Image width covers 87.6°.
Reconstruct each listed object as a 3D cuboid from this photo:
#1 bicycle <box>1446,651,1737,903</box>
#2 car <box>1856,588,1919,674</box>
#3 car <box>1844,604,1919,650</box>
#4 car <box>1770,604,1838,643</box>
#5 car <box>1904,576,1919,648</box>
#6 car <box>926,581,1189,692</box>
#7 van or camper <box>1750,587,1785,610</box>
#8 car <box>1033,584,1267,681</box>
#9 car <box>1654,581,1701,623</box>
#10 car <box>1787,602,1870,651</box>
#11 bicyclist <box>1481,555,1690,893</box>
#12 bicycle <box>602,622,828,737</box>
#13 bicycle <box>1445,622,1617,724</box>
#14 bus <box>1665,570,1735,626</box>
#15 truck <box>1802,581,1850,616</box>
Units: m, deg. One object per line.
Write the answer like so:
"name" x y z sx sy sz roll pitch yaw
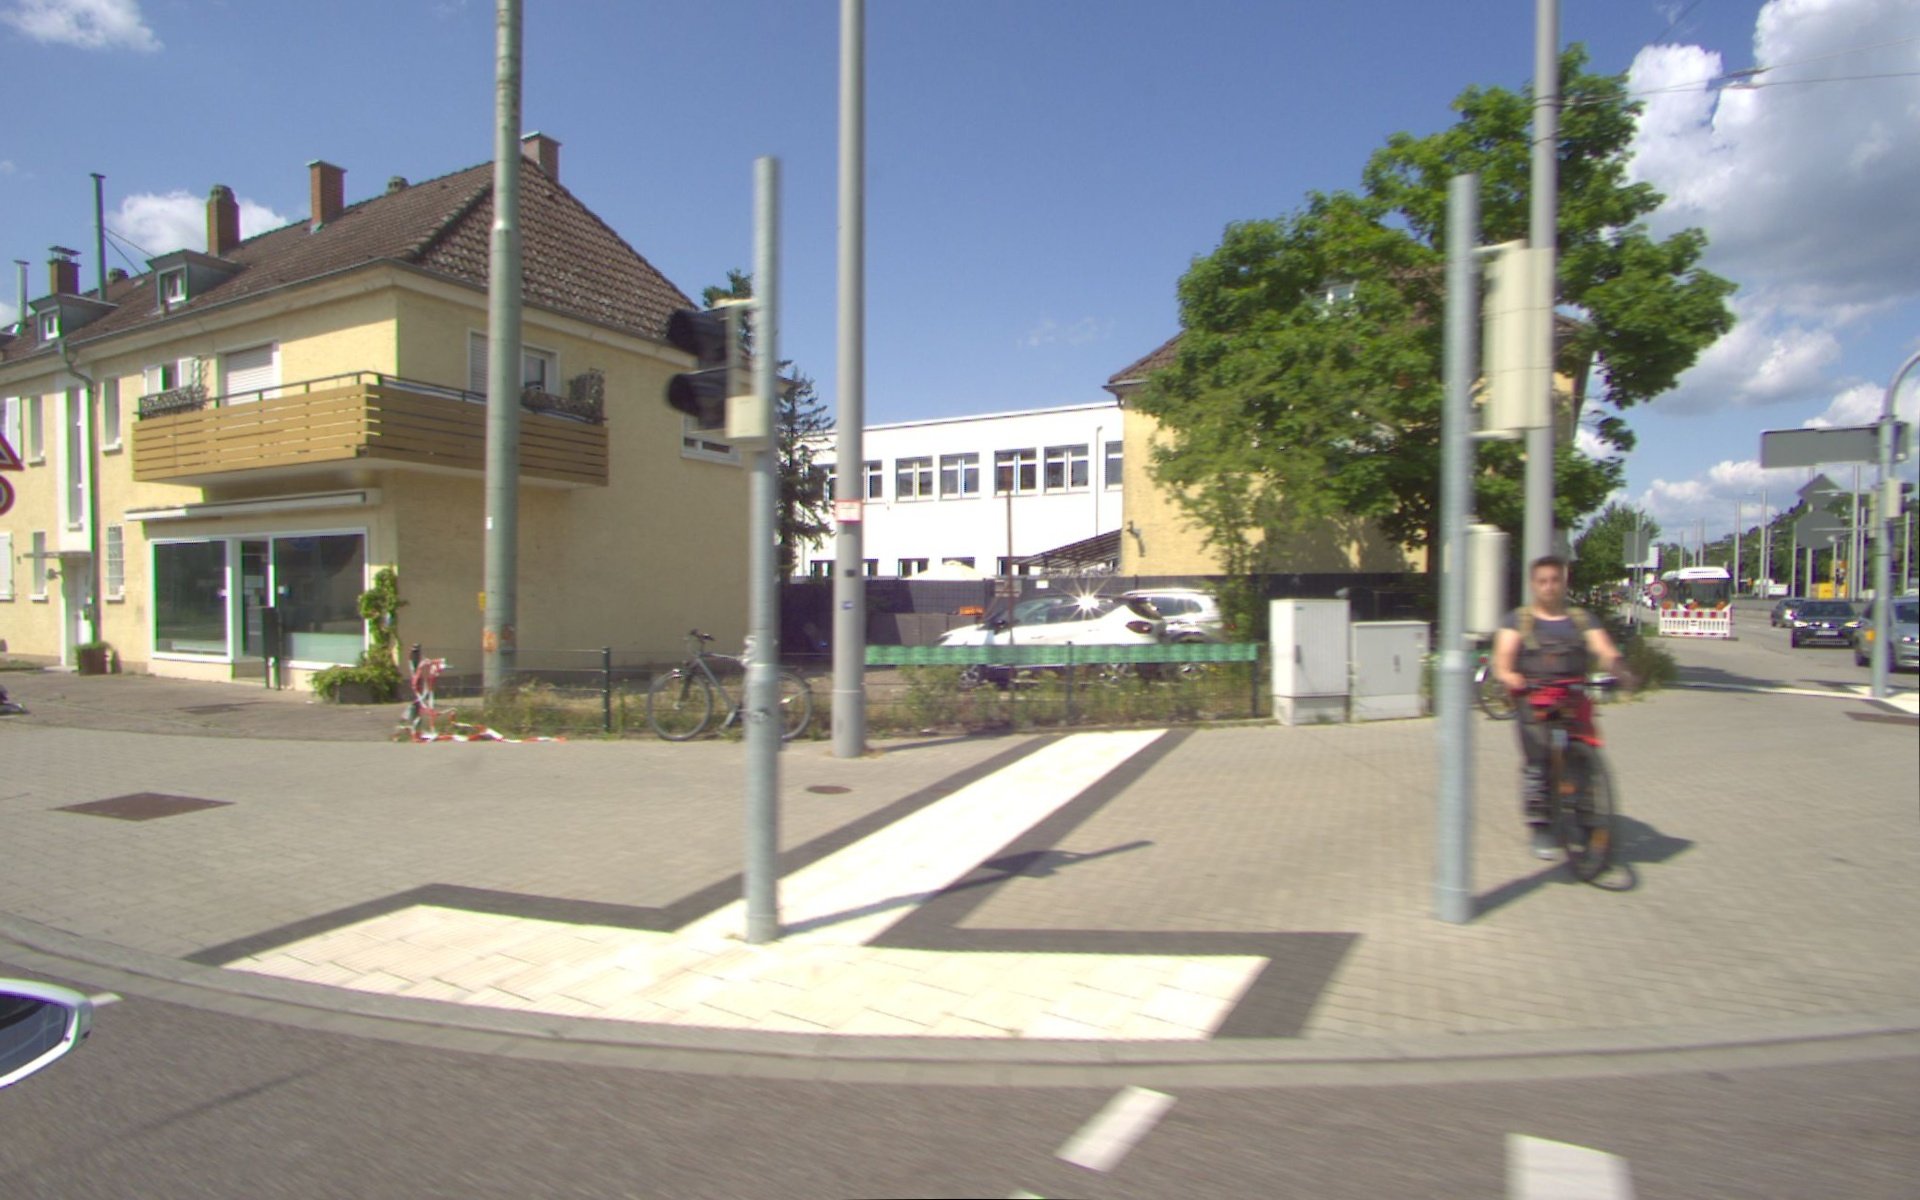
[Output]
"bicycle" 3.590 0.918 5.940 0.701 1.116 2.032 0 0 9
"car" 20.778 0.621 21.347 1.912 1.715 3.977 1 1 34
"car" 31.636 0.884 34.283 1.539 1.448 3.570 1 1 34
"car" 43.497 1.186 51.686 1.970 1.906 3.982 1 0 31
"car" 29.376 0.372 29.238 1.789 2.188 4.819 1 1 34
"car" 1.599 0.565 16.514 3.936 1.642 1.821 -1 0 26
"van or camper" 124.563 -0.195 154.547 2.961 3.251 7.093 1 0 30
"car" 3.518 0.577 18.587 3.936 1.642 1.821 -1 0 26
"car" 47.218 0.133 65.980 1.947 2.662 5.137 1 1 30
"car" 28.048 0.810 32.423 1.539 1.448 3.570 1 1 34
"bicyclist" 3.600 0.661 5.855 0.706 1.799 0.959 0 1 10
"bicycle" -2.528 0.797 10.381 2.233 1.111 0.594 0 1 10
"bicycle" 6.742 0.835 11.839 1.776 1.120 0.701 0 1 -15
"bus" 44.042 -0.136 59.783 2.470 3.163 6.625 1 1 29
"truck" 90.777 -0.108 105.068 2.154 3.450 7.202 1 0 28
